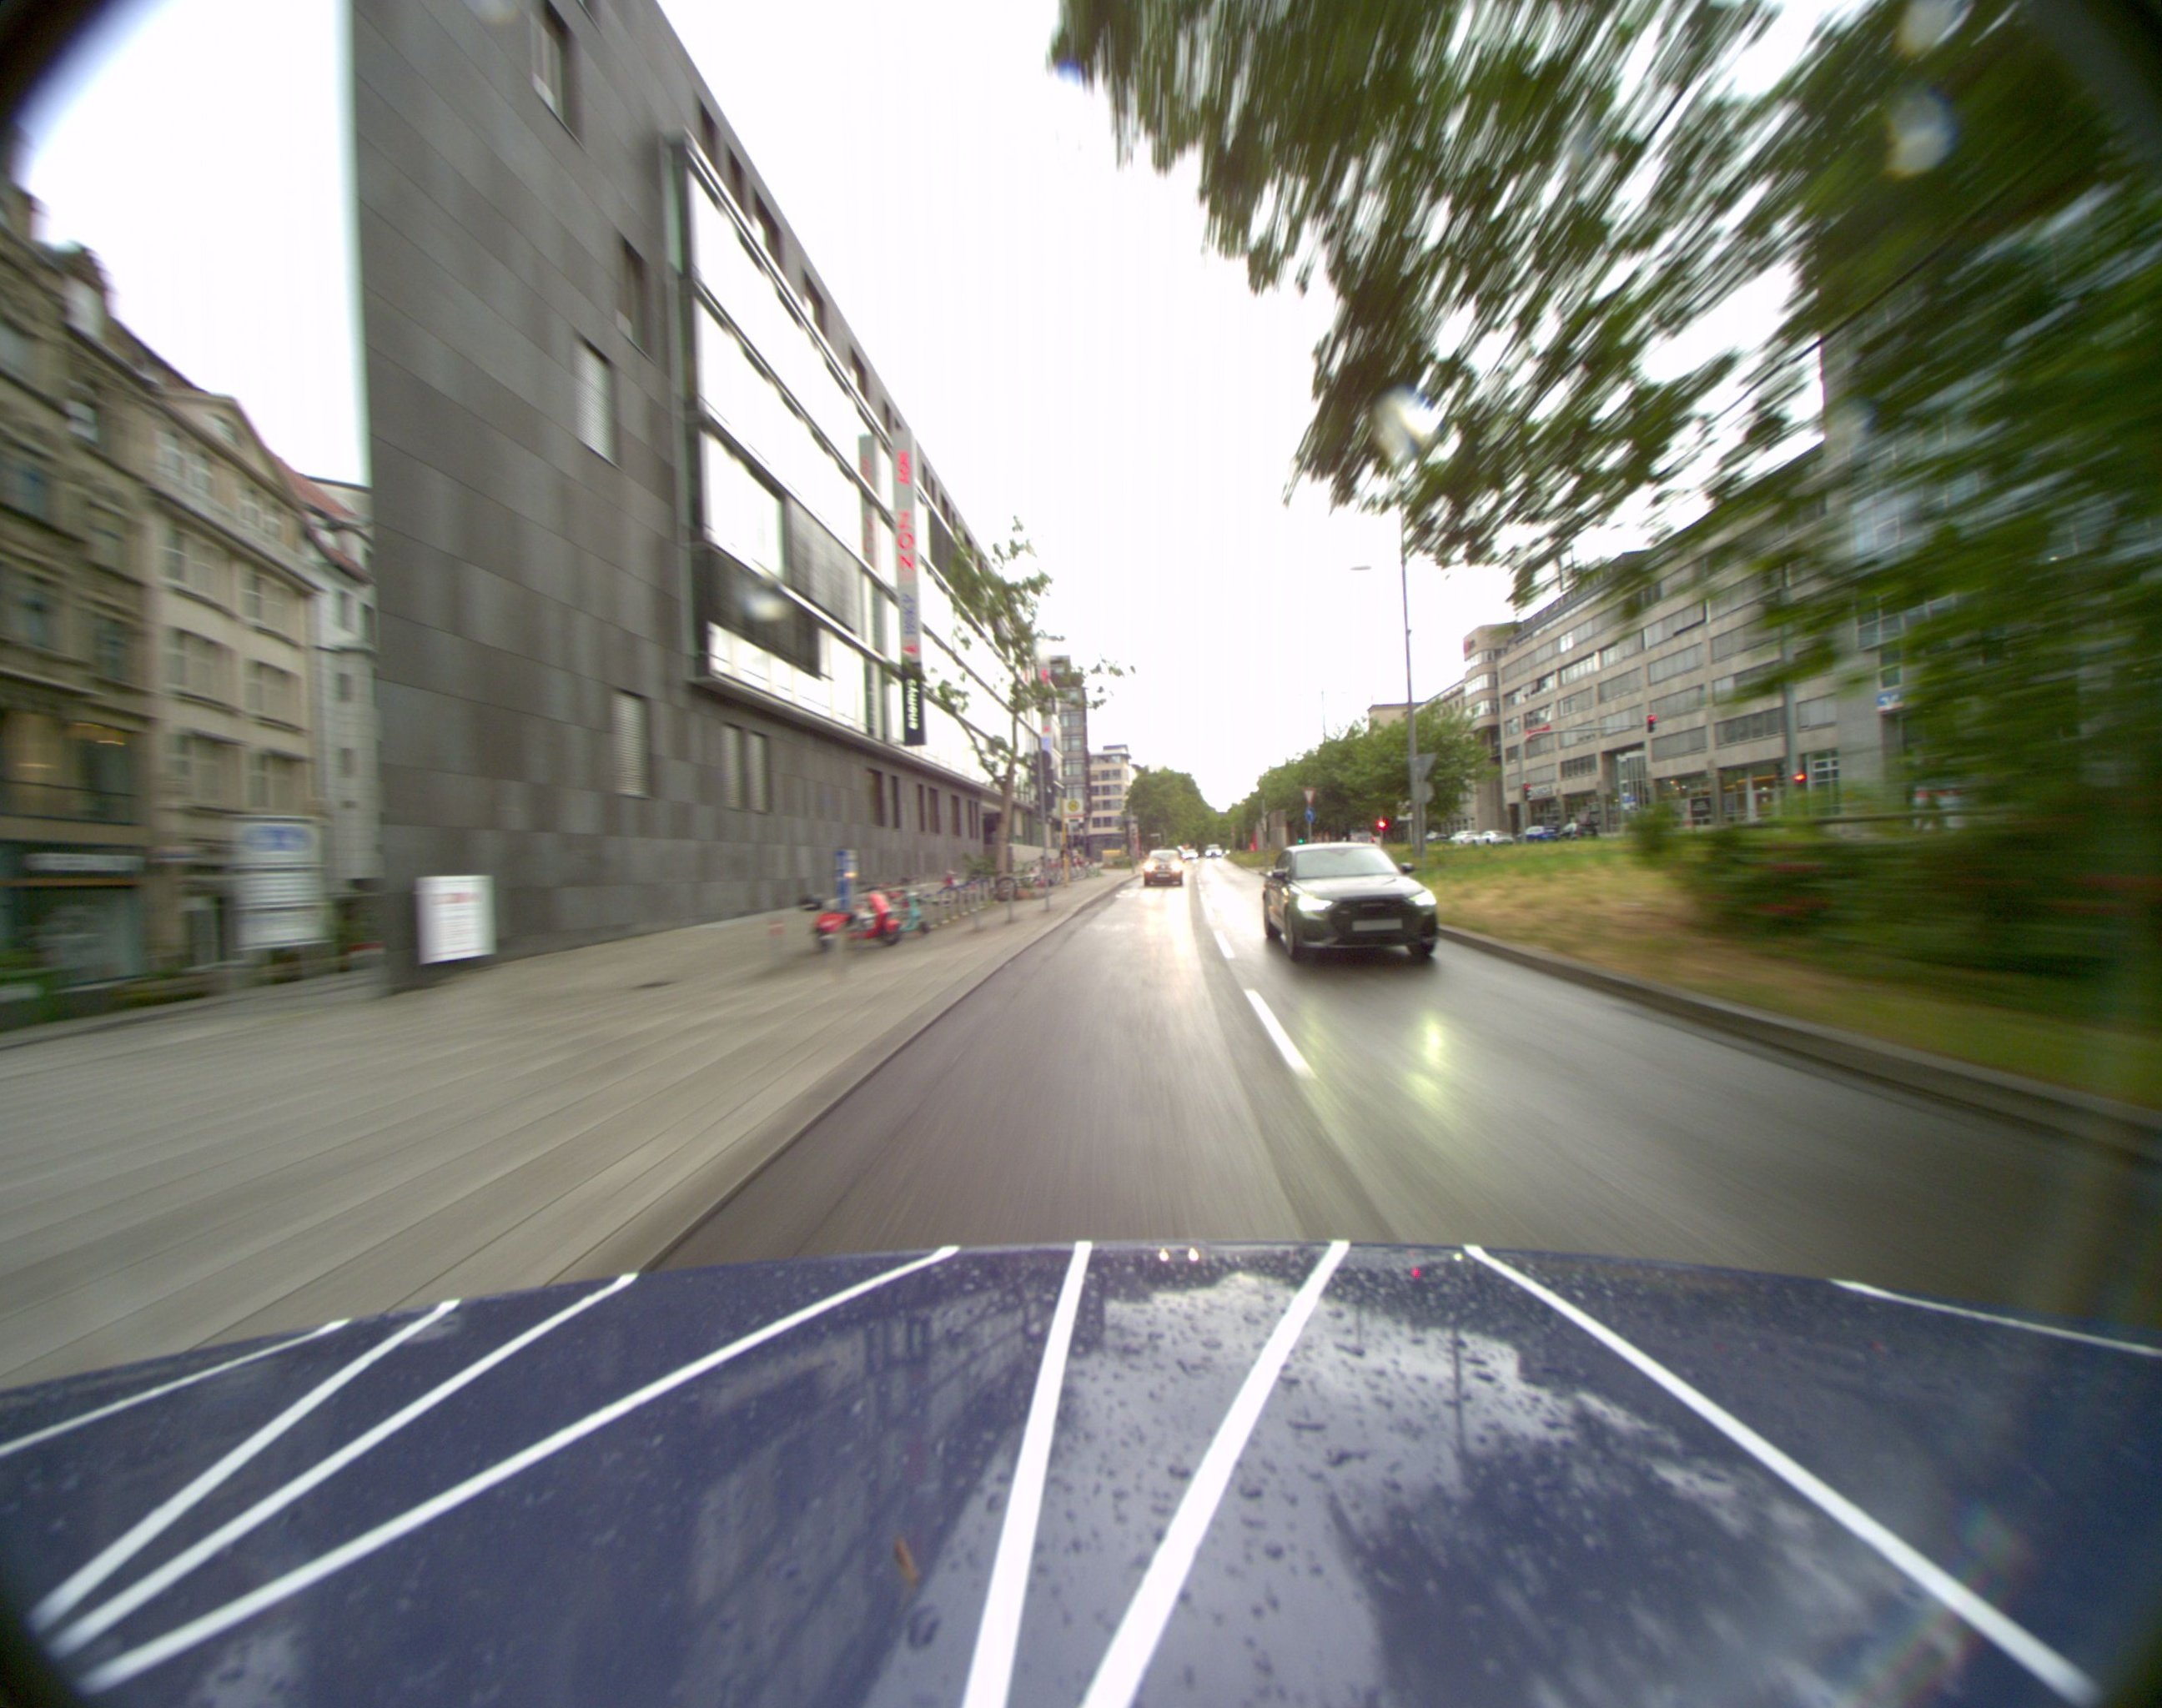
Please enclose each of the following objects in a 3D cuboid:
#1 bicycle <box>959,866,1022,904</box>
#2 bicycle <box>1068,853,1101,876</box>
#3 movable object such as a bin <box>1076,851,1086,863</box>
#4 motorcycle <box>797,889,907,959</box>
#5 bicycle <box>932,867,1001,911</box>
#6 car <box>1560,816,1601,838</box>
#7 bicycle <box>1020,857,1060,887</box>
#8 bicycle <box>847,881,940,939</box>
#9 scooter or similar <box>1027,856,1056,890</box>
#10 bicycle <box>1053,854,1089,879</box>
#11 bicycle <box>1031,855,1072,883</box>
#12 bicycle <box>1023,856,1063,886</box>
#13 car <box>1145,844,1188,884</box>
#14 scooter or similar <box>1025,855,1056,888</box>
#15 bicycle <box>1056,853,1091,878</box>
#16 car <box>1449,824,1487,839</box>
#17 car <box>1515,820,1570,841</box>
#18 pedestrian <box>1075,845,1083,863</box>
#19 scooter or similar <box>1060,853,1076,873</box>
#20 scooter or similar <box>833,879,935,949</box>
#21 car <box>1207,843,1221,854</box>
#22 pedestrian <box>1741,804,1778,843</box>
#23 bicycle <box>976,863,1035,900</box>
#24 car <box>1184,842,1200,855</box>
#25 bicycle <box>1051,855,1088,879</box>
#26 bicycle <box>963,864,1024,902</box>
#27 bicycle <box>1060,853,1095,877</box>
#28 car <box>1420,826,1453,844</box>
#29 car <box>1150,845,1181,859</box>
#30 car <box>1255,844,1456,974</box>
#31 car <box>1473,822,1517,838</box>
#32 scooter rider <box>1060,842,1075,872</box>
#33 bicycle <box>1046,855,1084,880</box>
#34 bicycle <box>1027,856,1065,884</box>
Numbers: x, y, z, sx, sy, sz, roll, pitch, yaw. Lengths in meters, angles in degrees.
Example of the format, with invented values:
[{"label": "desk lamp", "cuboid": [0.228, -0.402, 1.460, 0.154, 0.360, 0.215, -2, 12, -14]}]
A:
[{"label": "bicycle", "cuboid": [-2.827, 0.967, 23.823, 1.798, 1.062, 0.556, -4, 2, 3]}, {"label": "bicycle", "cuboid": [0.179, 0.556, 41.017, 1.734, 1.176, 0.689, -2, 1, 2]}, {"label": "movable object such as a bin", "cuboid": [0.016, 0.305, 77.444, 0.804, 1.258, 1.788, -1, 1, 6]}, {"label": "motorcycle", "cuboid": [-4.269, 1.298, 14.243, 1.796, 1.133, 0.596, -4, 2, 3]}, {"label": "bicycle", "cuboid": [-3.309, 1.014, 22.061, 1.798, 1.101, 0.670, -4, 2, 2]}, {"label": "car", "cuboid": [34.364, -1.832, 52.296, 1.242, 1.377, 2.628, -5, 0, 8]}, {"label": "bicycle", "cuboid": [-1.669, 0.724, 30.935, 1.538, 1.134, 0.662, -3, 2, 2]}, {"label": "bicycle", "cuboid": [-4.132, 1.234, 16.811, 1.798, 1.101, 0.670, -4, 2, 2]}, {"label": "scooter or similar", "cuboid": [-1.528, 0.724, 29.378, 1.063, 1.251, 0.302, -3, 2, 1]}, {"label": "bicycle", "cuboid": [-0.509, 0.601, 38.077, 1.734, 1.176, 0.689, -2, 1, 2]}, {"label": "bicycle", "cuboid": [-1.270, 0.648, 33.172, 1.710, 1.134, 0.689, -3, 2, 2]}, {"label": "bicycle", "cuboid": [-1.577, 0.706, 31.716, 1.538, 1.134, 0.689, -3, 2, 2]}, {"label": "car", "cuboid": [3.686, 0.385, 32.254, 1.593, 1.501, 3.711, -3, 1, 9]}, {"label": "scooter or similar", "cuboid": [-1.579, 0.682, 29.749, 1.108, 1.251, 0.302, -3, 2, 1]}, {"label": "bicycle", "cuboid": [-0.371, 0.589, 39.118, 1.734, 1.176, 0.689, -2, 1, 2]}, {"label": "car", "cuboid": [35.349, -2.043, 69.519, 1.574, 1.116, 4.108, -5, 0, 4]}, {"label": "car", "cuboid": [34.717, -1.762, 57.283, 1.679, 1.377, 4.321, -5, 0, 4]}, {"label": "pedestrian", "cuboid": [-0.164, 0.029, 78.750, 0.723, 1.820, 0.747, -1, 1, 6]}, {"label": "scooter or similar", "cuboid": [-0.876, 0.609, 52.178, 0.779, 1.298, 1.336, -2, 1, 11]}, {"label": "scooter or similar", "cuboid": [-3.951, 1.197, 15.305, 1.796, 1.236, 0.596, -4, 2, 3]}, {"label": "car", "cuboid": [17.954, -0.779, 102.763, 1.604, 1.377, 3.021, -5, 0, 8]}, {"label": "pedestrian", "cuboid": [33.229, -1.472, 37.196, 0.959, 1.870, 0.932, -2, 1, -5]}, {"label": "bicycle", "cuboid": [-2.502, 0.905, 25.273, 1.798, 1.062, 0.556, -4, 2, 3]}, {"label": "car", "cuboid": [15.713, -0.788, 107.186, 2.071, 1.578, 4.109, -5, 0, 8]}, {"label": "bicycle", "cuboid": [-0.565, 0.631, 37.199, 1.734, 1.133, 0.689, -2, 1, 2]}, {"label": "bicycle", "cuboid": [-2.793, 0.940, 24.409, 1.798, 1.062, 0.556, -4, 2, 3]}, {"label": "bicycle", "cuboid": [-0.175, 0.575, 39.933, 1.734, 1.176, 0.689, -2, 1, 2]}, {"label": "car", "cuboid": [36.105, -1.924, 77.268, 1.574, 1.571, 4.108, -5, 0, 4]}, {"label": "car", "cuboid": [12.916, -0.335, 116.133, 4.202, 1.801, 2.003, -4, 0, 43]}, {"label": "car", "cuboid": [3.822, 0.649, 11.410, 1.864, 1.509, 4.347, -3, 1, 7]}, {"label": "car", "cuboid": [34.758, -2.024, 63.934, 1.574, 1.116, 4.108, -5, 0, 4]}, {"label": "scooter rider", "cuboid": [-0.898, 0.195, 52.168, 0.779, 2.009, 0.925, -2, 1, 11]}, {"label": "bicycle", "cuboid": [-0.751, 0.640, 36.384, 1.734, 1.133, 0.689, -2, 1, 2]}, {"label": "bicycle", "cuboid": [-1.492, 0.678, 32.463, 1.538, 1.134, 0.689, -3, 2, 2]}]
